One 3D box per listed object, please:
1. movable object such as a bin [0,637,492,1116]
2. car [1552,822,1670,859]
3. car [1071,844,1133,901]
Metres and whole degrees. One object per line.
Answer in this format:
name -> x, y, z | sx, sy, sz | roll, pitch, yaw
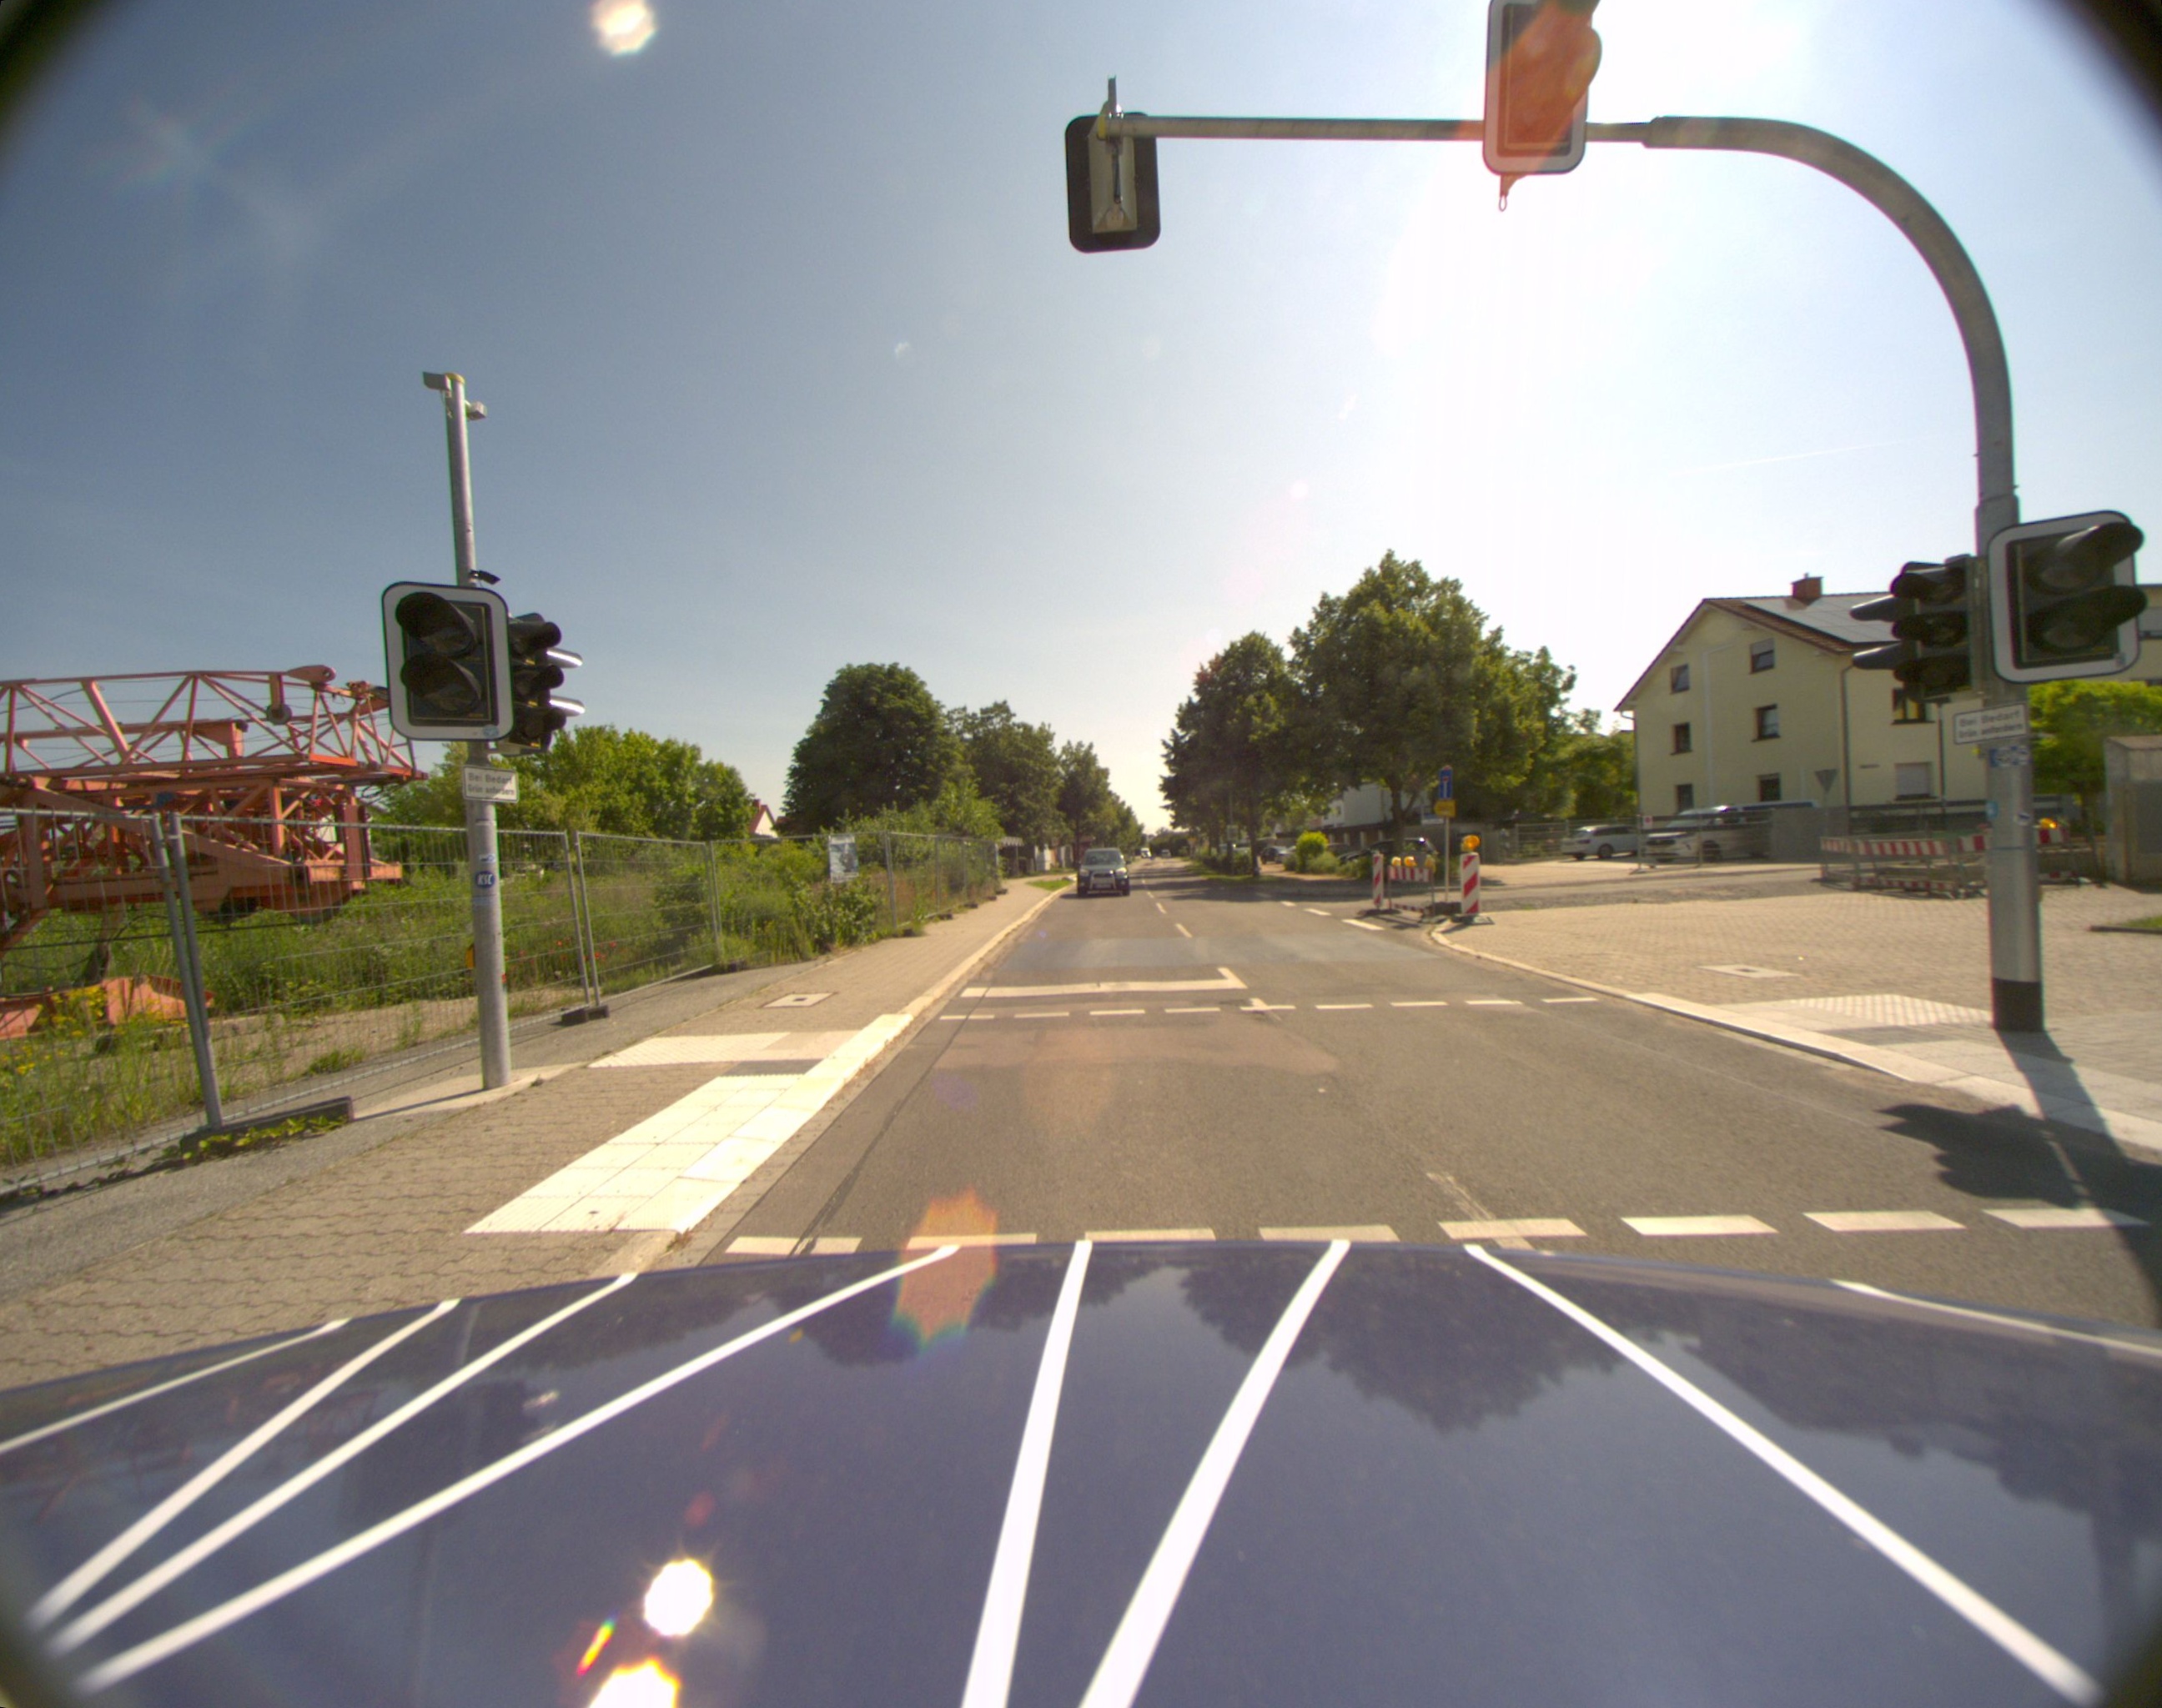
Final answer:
movable object such as a bin -> -14.122, 0.411, 7.841 | 13.290, 4.141, 2.862 | -2, 1, -3
car -> 24.258, -0.622, 34.867 | 3.997, 1.496, 2.000 | -2, 0, 0
car -> 0.741, 0.610, 26.322 | 1.848, 1.686, 4.399 | -3, -1, 2
